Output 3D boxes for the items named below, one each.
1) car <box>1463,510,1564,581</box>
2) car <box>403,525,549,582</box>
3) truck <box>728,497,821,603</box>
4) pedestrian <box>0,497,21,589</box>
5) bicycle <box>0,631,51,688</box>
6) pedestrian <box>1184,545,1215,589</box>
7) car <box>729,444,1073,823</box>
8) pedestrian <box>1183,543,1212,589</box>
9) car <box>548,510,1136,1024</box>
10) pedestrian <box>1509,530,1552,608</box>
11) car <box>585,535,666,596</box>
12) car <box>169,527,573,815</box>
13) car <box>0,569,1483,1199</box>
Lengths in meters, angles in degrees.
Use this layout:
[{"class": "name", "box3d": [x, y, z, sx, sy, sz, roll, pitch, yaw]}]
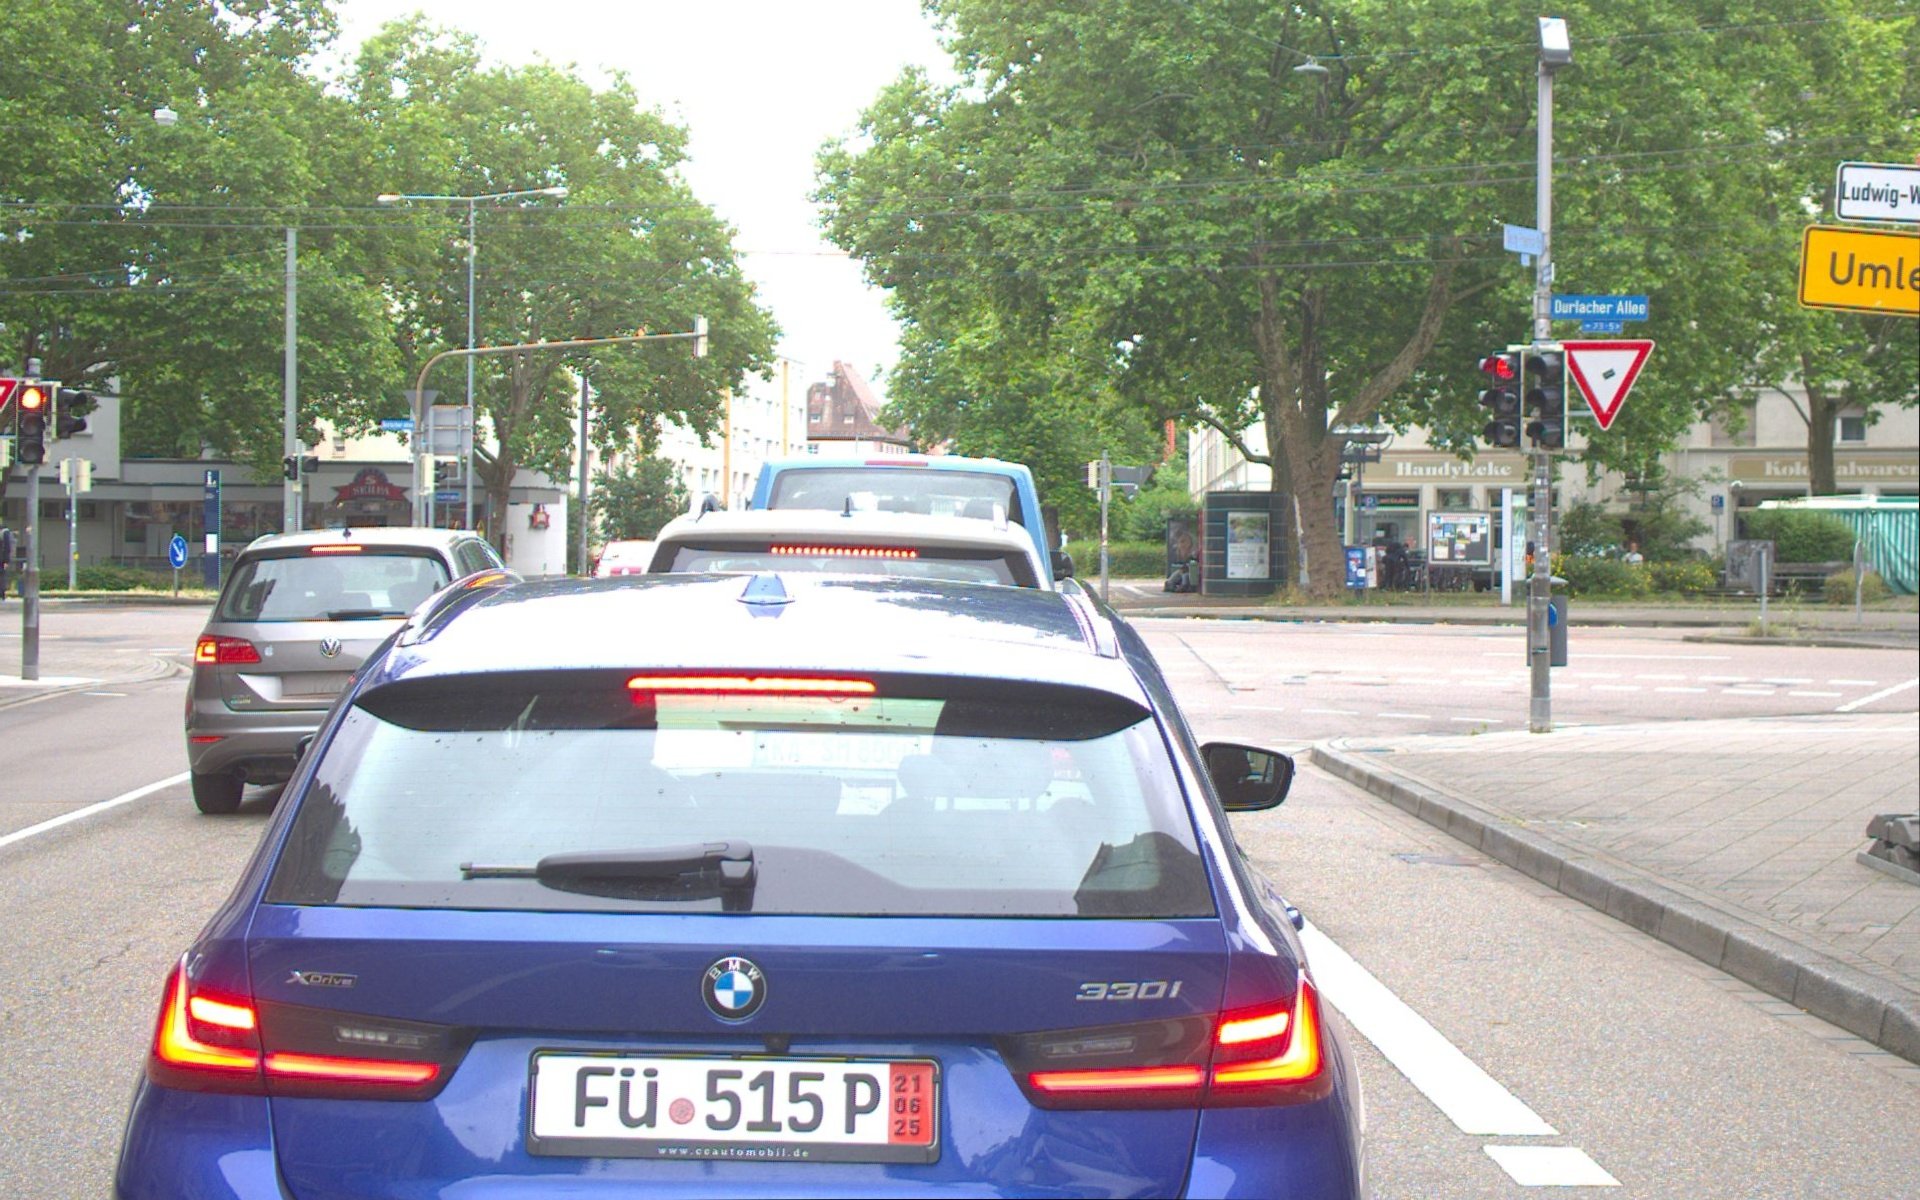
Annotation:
[{"class": "car", "box3d": [17.312, -1.704, 107.405, 2.177, 2.193, 3.995, 1, 1, 24]}, {"class": "car", "box3d": [-14.987, -1.423, 106.522, 3.987, 1.700, 2.000, 0, 1, -34]}, {"class": "truck", "box3d": [-4.329, -1.202, 80.786, 2.074, 2.400, 5.463, 0, 1, -2]}, {"class": "pedestrian", "box3d": [-18.556, -1.107, 66.365, 0.675, 1.765, 0.726, 0, 1, -1]}, {"class": "bicycle", "box3d": [-9.916, 0.507, 33.409, 1.886, 0.443, 1.029, 6, 2, -2]}, {"class": "pedestrian", "box3d": [7.186, -0.989, 103.036, 0.853, 1.310, 0.763, 0, 1, 0]}, {"class": "car", "box3d": [-0.336, 0.137, 20.174, 1.815, 1.998, 4.000, 0, 1, -1]}, {"class": "pedestrian", "box3d": [7.173, -1.024, 103.890, 0.817, 1.367, 0.763, 0, 1, 0]}, {"class": "car", "box3d": [-0.389, 0.475, 12.637, 1.815, 1.586, 4.000, 0, 1, -1]}, {"class": "pedestrian", "box3d": [12.849, -0.696, 77.422, 0.784, 1.737, 0.925, 0, 1, -2]}, {"class": "car", "box3d": [-8.074, -0.849, 83.193, 1.649, 1.442, 3.511, 0, 1, -1]}, {"class": "car", "box3d": [-3.346, 0.335, 20.209, 1.732, 1.519, 4.000, 0, 1, -1]}, {"class": "car", "box3d": [-0.308, 0.673, 6.281, 1.815, 1.400, 4.320, 0, 1, -1]}]
